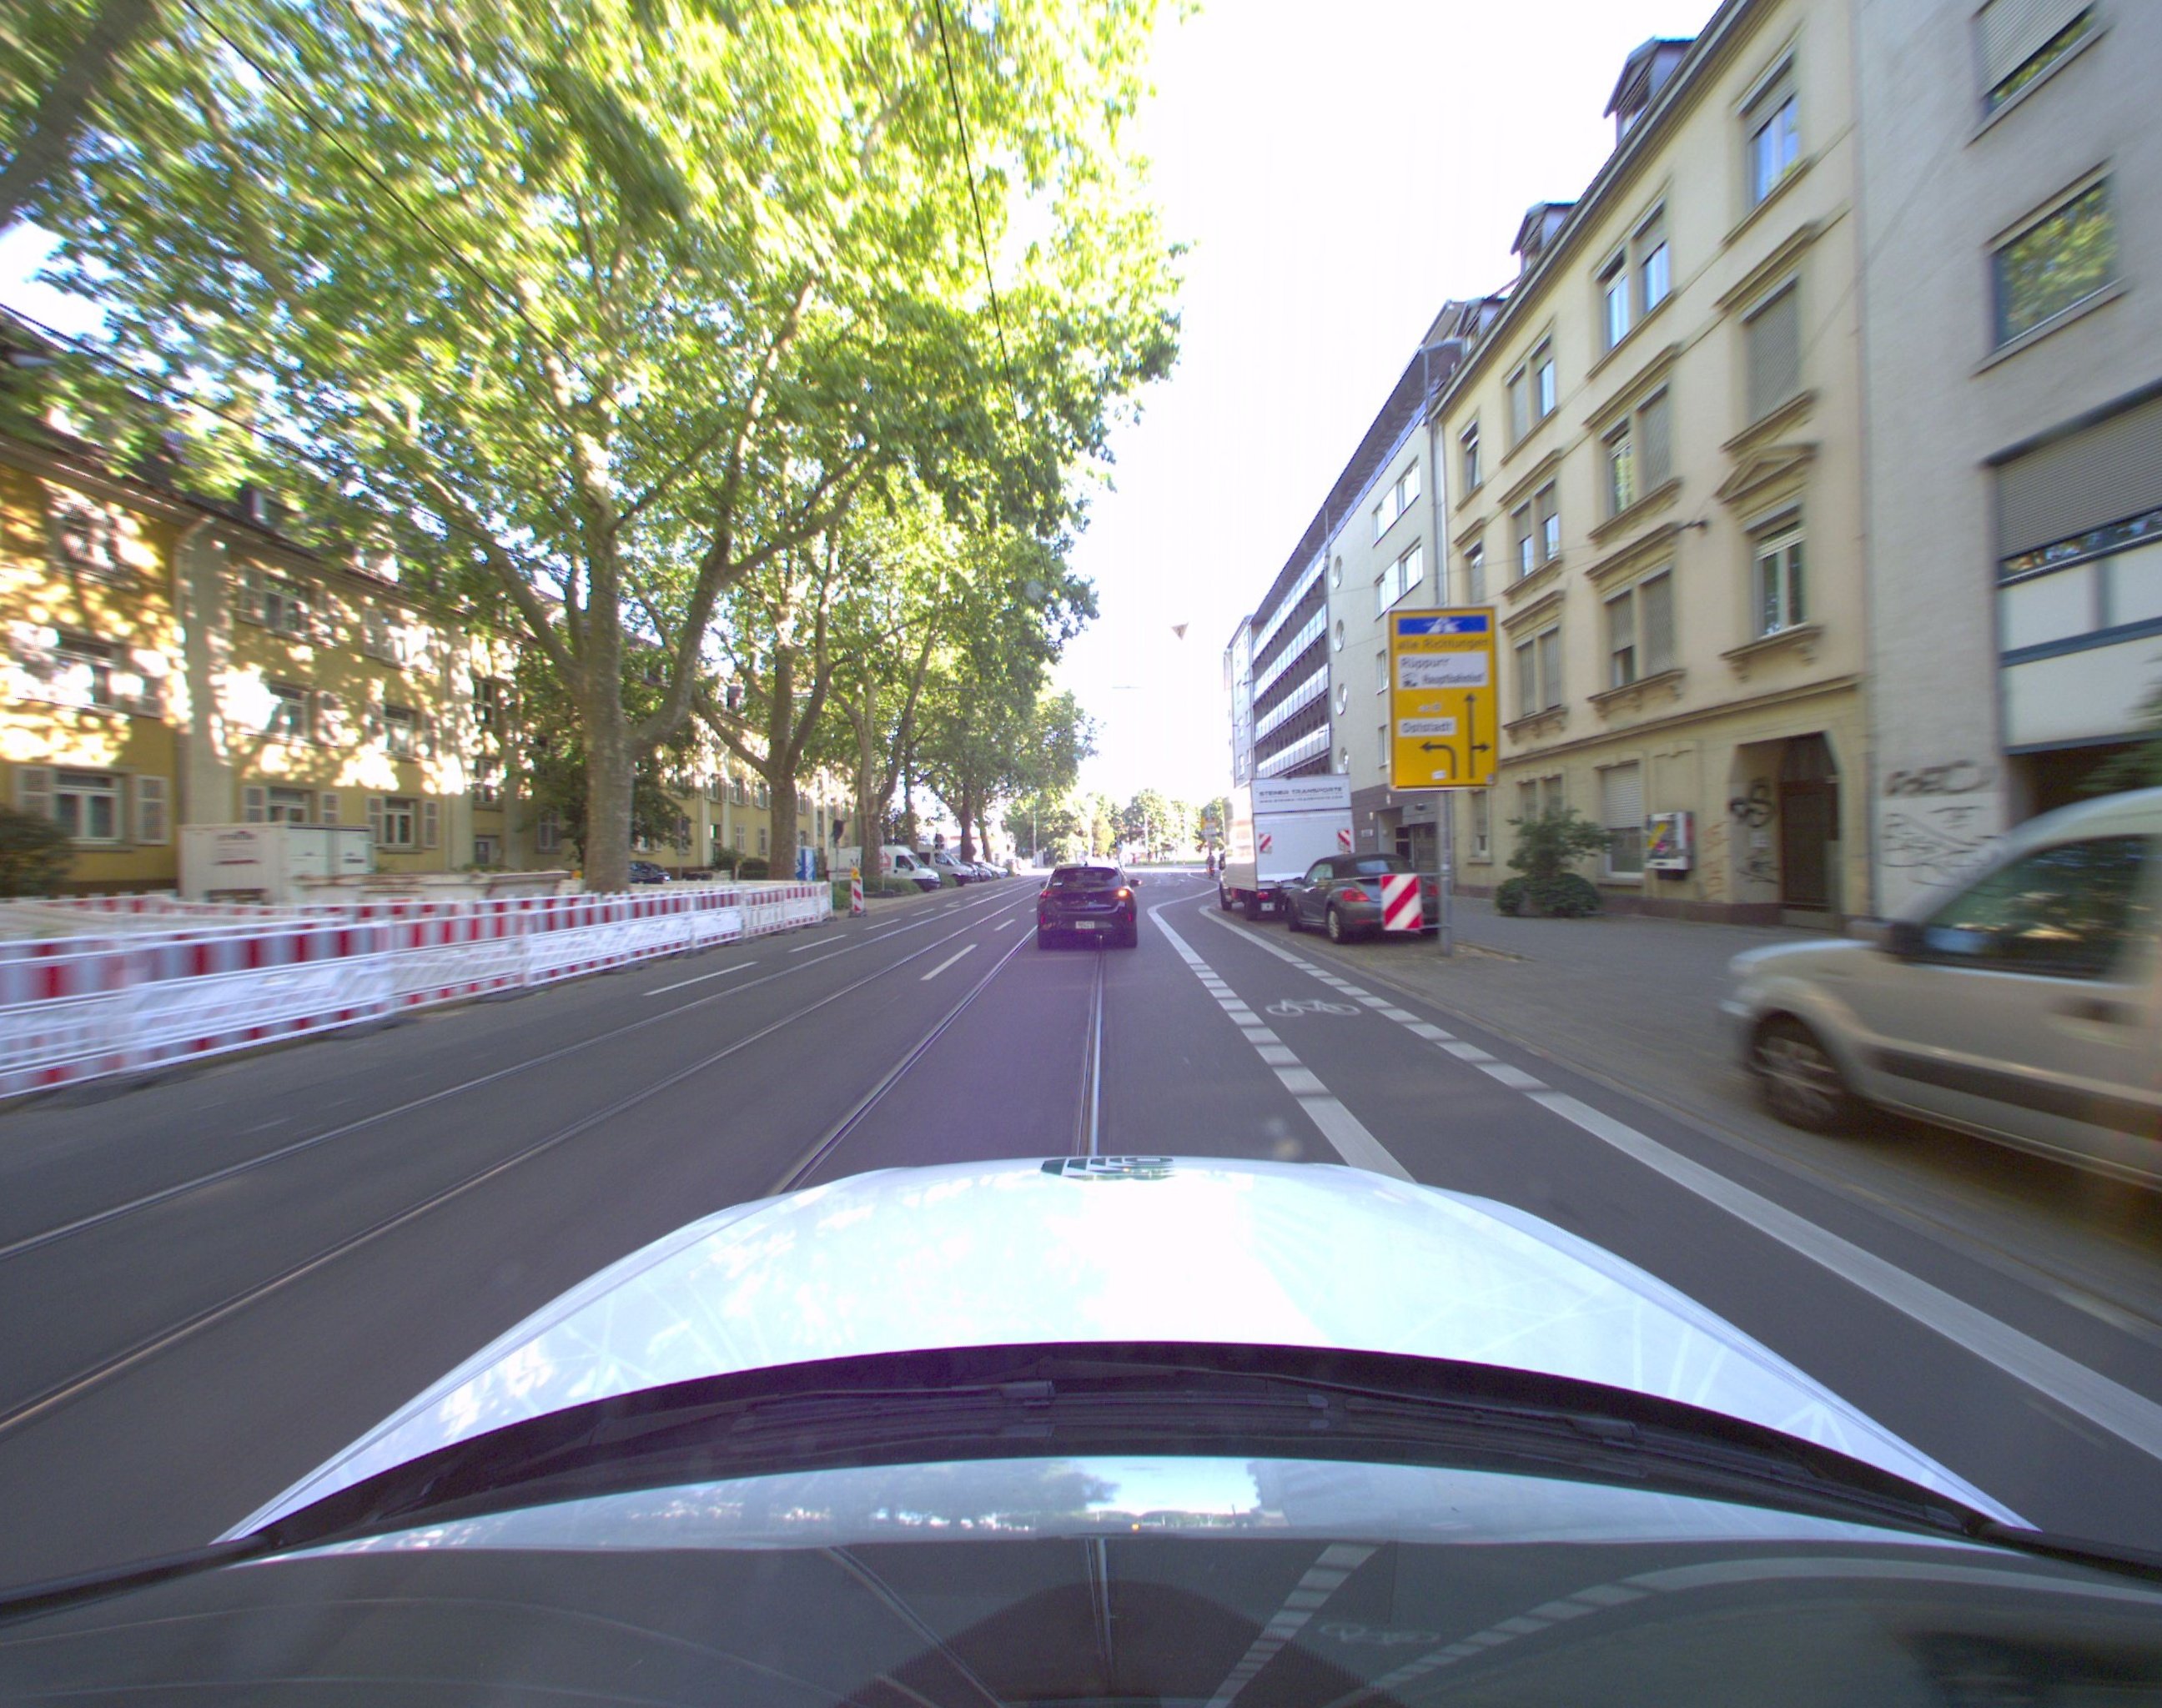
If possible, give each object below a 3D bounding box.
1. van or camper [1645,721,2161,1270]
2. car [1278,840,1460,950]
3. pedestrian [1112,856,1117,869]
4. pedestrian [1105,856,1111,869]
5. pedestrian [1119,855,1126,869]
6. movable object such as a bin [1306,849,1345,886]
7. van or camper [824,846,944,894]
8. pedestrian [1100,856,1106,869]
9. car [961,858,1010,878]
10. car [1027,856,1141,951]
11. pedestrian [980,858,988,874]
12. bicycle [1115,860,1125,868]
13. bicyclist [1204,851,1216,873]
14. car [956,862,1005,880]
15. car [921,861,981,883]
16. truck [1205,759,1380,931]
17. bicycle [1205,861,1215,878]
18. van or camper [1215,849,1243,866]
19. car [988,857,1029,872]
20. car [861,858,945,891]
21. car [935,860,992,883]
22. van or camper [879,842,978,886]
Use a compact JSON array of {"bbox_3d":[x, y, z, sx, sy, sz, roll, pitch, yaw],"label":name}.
[{"bbox_3d":[4.506,0.457,3.098,1.664,1.883,4.207,-2,0,-2],"label":"van or camper"},{"bbox_3d":[4.868,0.632,14.428,1.725,1.557,4.152,-4,-1,1],"label":"car"},{"bbox_3d":[4.860,1.267,118.582,0.610,1.854,0.587,-1,-1,26],"label":"pedestrian"},{"bbox_3d":[3.993,1.223,118.699,0.651,1.932,0.613,-1,-1,35],"label":"pedestrian"},{"bbox_3d":[4.232,0.839,82.885,0.649,1.363,0.646,-1,-1,8],"label":"pedestrian"},{"bbox_3d":[10.419,0.565,34.764,1.182,1.484,1.596,-3,-1,2],"label":"movable object such as a bin"},{"bbox_3d":[-9.996,0.790,41.618,5.475,2.379,2.272,0,-1,5],"label":"van or camper"},{"bbox_3d":[3.195,1.272,118.503,0.610,1.854,0.587,-1,-1,41],"label":"pedestrian"},{"bbox_3d":[-8.550,1.253,73.322,4.157,1.671,1.963,-1,0,-2],"label":"car"},{"bbox_3d":[0.197,0.798,14.986,1.773,1.496,4.005,-1,0,5],"label":"car"},{"bbox_3d":[-13.394,1.691,112.572,0.824,2.221,0.890,0,-1,-33],"label":"pedestrian"},{"bbox_3d":[5.289,1.332,110.654,0.782,0.992,2.254,0,-1,18],"label":"bicycle"},{"bbox_3d":[8.600,0.548,54.360,0.701,1.435,0.705,-2,-1,13],"label":"bicyclist"},{"bbox_3d":[-8.688,1.442,70.445,3.971,1.515,1.651,0,-1,2],"label":"car"},{"bbox_3d":[-9.347,1.288,58.665,3.971,1.515,1.651,0,-1,2],"label":"car"},{"bbox_3d":[4.850,-0.158,20.186,2.528,3.338,7.199,-4,-1,2],"label":"truck"},{"bbox_3d":[8.624,1.027,54.288,0.504,1.067,1.570,-2,0,14],"label":"bicycle"},{"bbox_3d":[19.905,0.485,109.305,2.147,2.146,4.534,-1,-1,32],"label":"van or camper"},{"bbox_3d":[-9.168,1.345,102.739,4.678,1.695,2.013,-3,0,31],"label":"car"},{"bbox_3d":[-9.667,1.096,44.516,4.157,1.671,1.963,-1,0,-2],"label":"car"},{"bbox_3d":[-8.784,1.310,61.145,3.971,1.651,1.651,0,-1,2],"label":"car"},{"bbox_3d":[-9.478,0.612,50.919,5.702,2.644,2.270,0,-1,2],"label":"van or camper"}]
